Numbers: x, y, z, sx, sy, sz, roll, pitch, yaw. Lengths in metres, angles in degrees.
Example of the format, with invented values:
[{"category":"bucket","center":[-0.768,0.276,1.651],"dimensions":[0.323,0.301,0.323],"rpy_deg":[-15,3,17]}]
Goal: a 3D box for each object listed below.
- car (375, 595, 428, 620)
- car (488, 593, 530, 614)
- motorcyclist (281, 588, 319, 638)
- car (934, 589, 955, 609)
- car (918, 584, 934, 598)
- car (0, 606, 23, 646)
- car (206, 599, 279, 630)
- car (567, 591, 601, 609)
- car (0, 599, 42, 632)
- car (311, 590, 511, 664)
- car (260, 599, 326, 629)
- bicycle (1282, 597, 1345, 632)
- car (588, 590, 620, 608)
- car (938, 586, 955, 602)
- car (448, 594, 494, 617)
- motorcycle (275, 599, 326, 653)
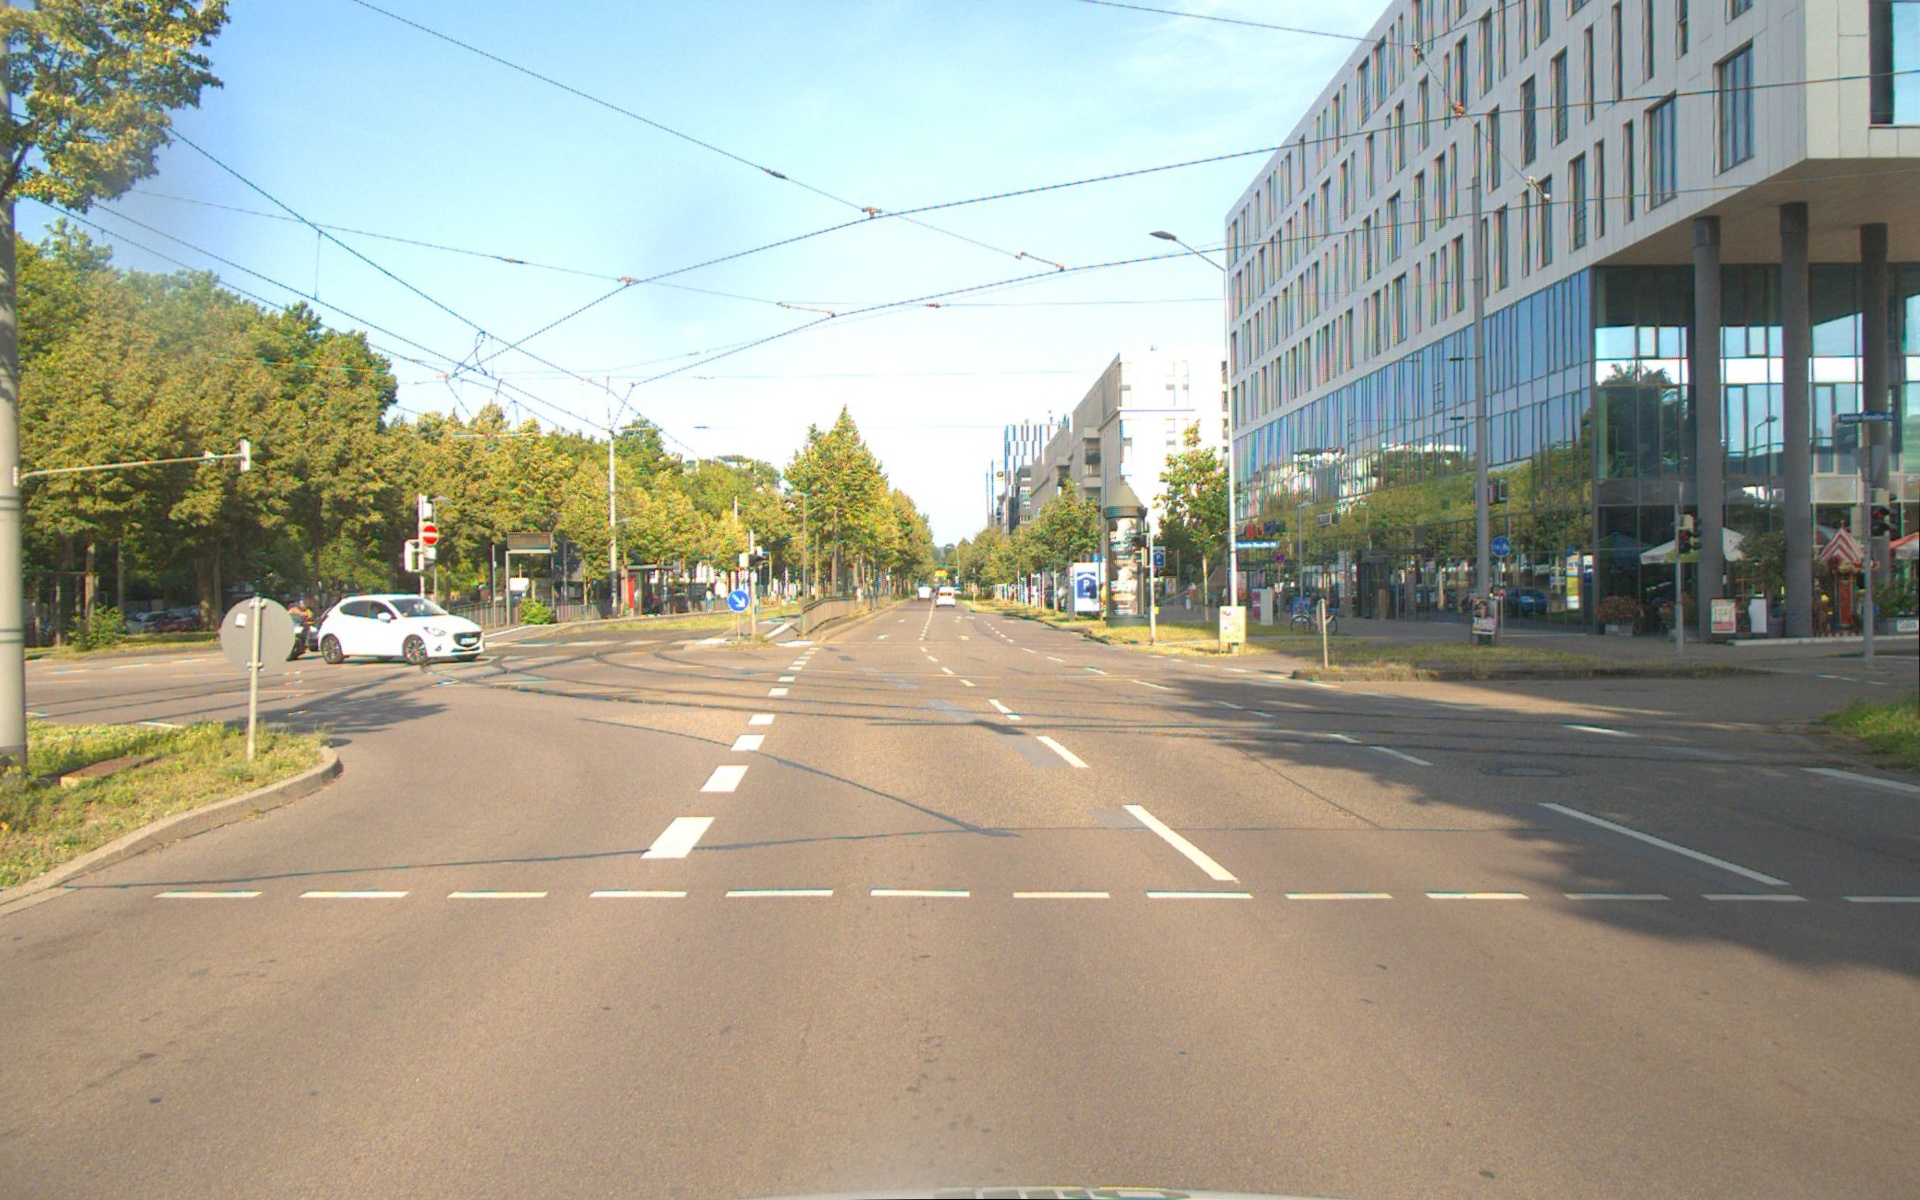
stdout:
[{"category":"car","center":[-36.455,0.456,108.124],"dimensions":[1.841,1.586,4.002],"rpy_deg":[-1,0,4]},{"category":"car","center":[-35.042,0.282,128.549],"dimensions":[1.841,1.586,4.002],"rpy_deg":[-1,0,4]},{"category":"motorcyclist","center":[-16.659,0.320,41.765],"dimensions":[0.769,1.224,0.844],"rpy_deg":[1,1,-14]},{"category":"car","center":[-1.393,-0.130,148.525],"dimensions":[1.826,1.713,4.000],"rpy_deg":[1,1,0]},{"category":"car","center":[-4.546,-1.218,220.021],"dimensions":[1.973,1.713,4.000],"rpy_deg":[1,1,0]},{"category":"car","center":[-39.334,1.049,65.582],"dimensions":[1.841,1.586,4.002],"rpy_deg":[-1,0,4]},{"category":"car","center":[-38.131,0.755,87.994],"dimensions":[1.841,1.586,4.002],"rpy_deg":[-1,0,4]},{"category":"car","center":[-33.860,-0.013,148.990],"dimensions":[1.841,1.586,4.002],"rpy_deg":[-1,0,4]},{"category":"car","center":[-46.663,0.753,80.215],"dimensions":[1.841,1.586,4.002],"rpy_deg":[-1,0,4]},{"category":"car","center":[-12.187,0.575,36.706],"dimensions":[4.001,1.530,1.997],"rpy_deg":[1,0,28]},{"category":"car","center":[-37.712,0.769,93.572],"dimensions":[1.841,1.586,4.002],"rpy_deg":[-1,0,4]},{"category":"bicycle","center":[11.353,0.461,53.133],"dimensions":[0.768,1.050,1.848],"rpy_deg":[-1,3,-44]},{"category":"car","center":[-33.418,-0.096,155.420],"dimensions":[1.841,1.586,4.002],"rpy_deg":[-1,0,4]},{"category":"car","center":[-1.473,-0.683,182.043],"dimensions":[1.826,1.713,4.000],"rpy_deg":[1,1,0]},{"category":"car","center":[-35.625,0.385,120.618],"dimensions":[1.841,1.586,4.002],"rpy_deg":[-1,0,4]},{"category":"motorcycle","center":[-16.652,0.637,41.813],"dimensions":[0.804,1.285,2.541],"rpy_deg":[0,1,-13]}]
